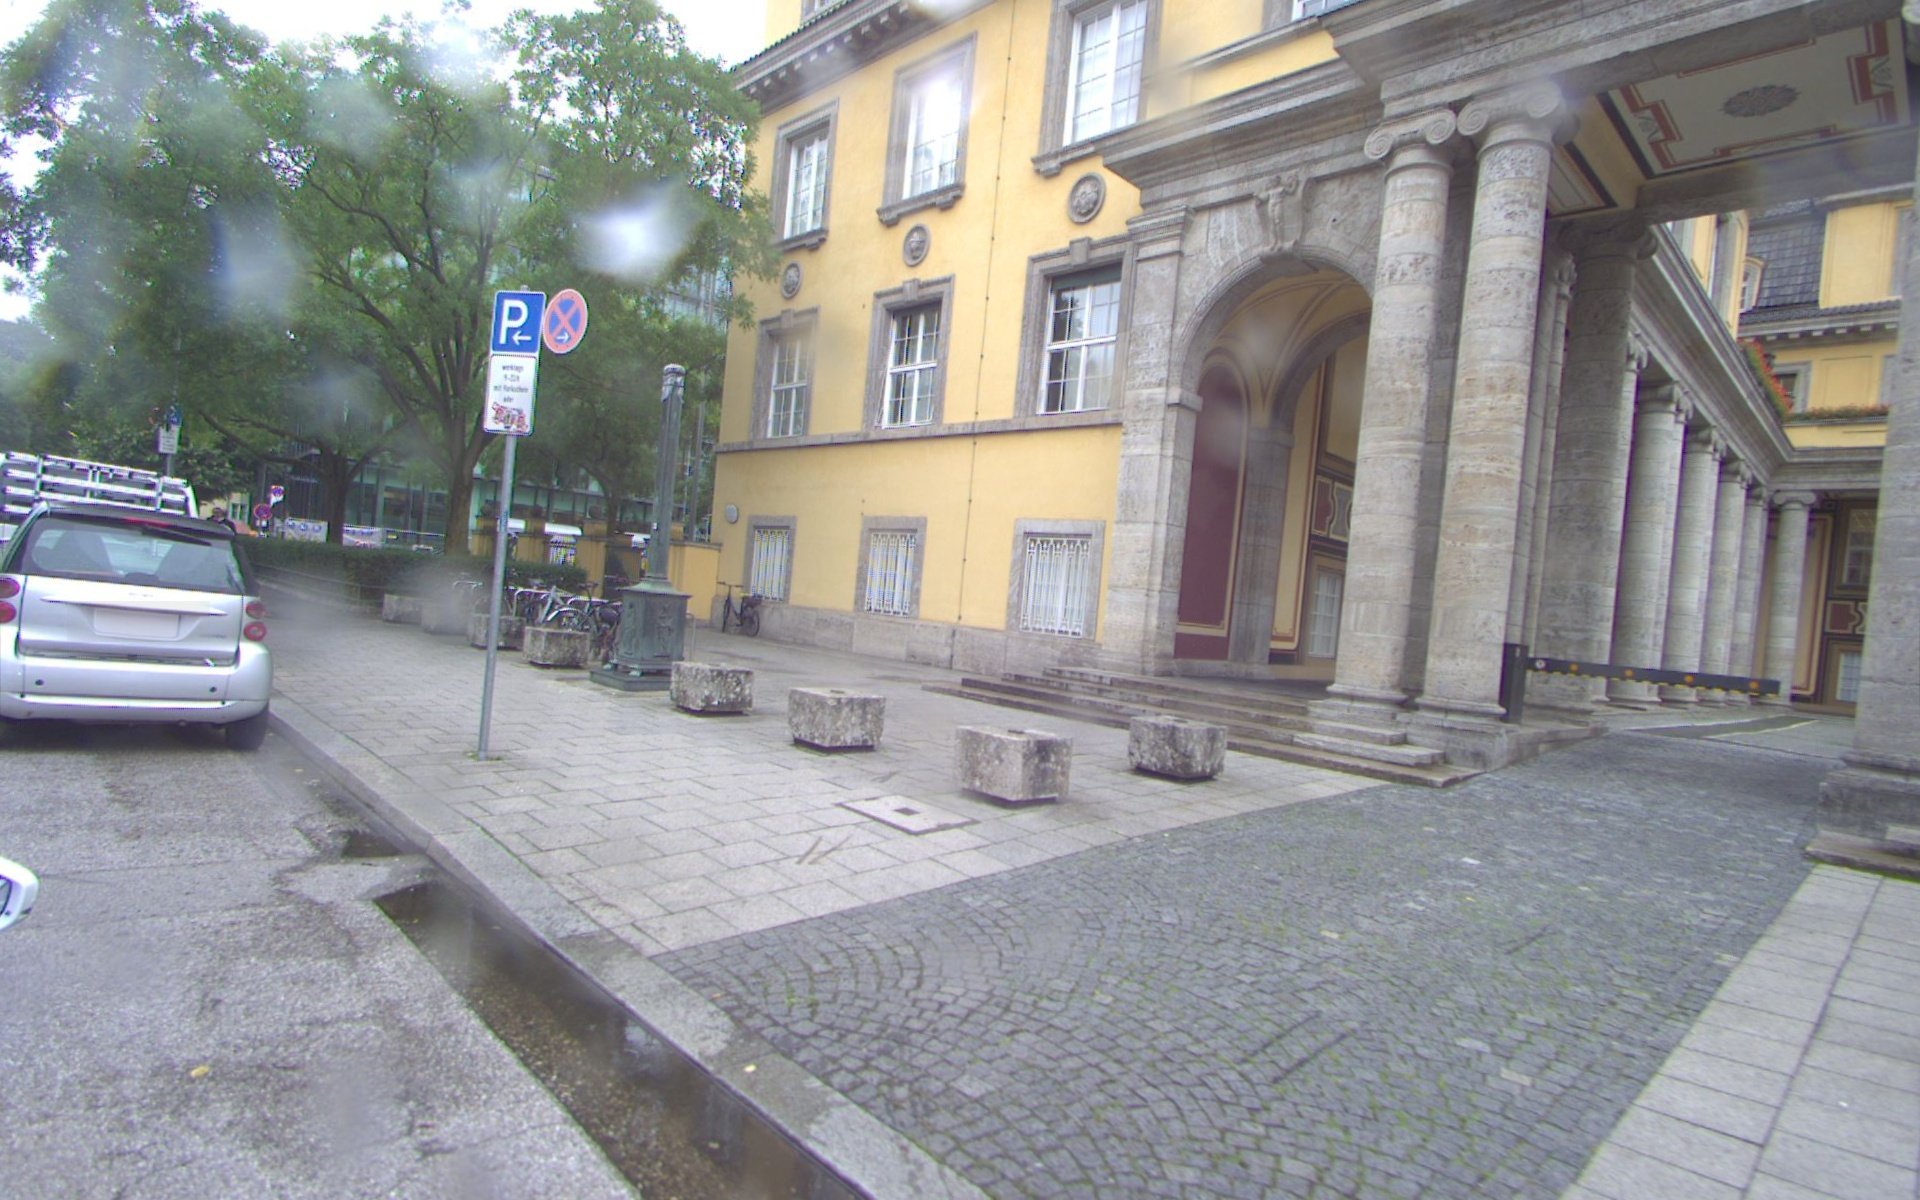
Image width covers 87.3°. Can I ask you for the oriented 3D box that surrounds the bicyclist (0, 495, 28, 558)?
[{"bbox_3d":[-23.720,-1.827,25.022,0.668,1.516,1.083,4,0,-40],"label":"bicyclist"}]

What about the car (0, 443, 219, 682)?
[{"bbox_3d":[-9.689,-0.480,10.821,5.205,1.956,1.841,6,-2,45],"label":"car"}]

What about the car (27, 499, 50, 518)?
[{"bbox_3d":[-117.843,-11.699,128.674,1.987,2.123,3.953,9,-1,-42],"label":"car"}]

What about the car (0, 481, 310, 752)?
[{"bbox_3d":[-6.083,0.069,7.345,1.601,1.564,2.897,8,-1,-44],"label":"car"}]

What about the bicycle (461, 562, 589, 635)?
[{"bbox_3d":[-7.436,-0.007,17.274,1.923,1.128,0.465,4,2,-43],"label":"bicycle"}]

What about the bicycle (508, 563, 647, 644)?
[{"bbox_3d":[-5.888,0.075,15.575,1.923,1.128,0.465,4,2,-43],"label":"bicycle"}]

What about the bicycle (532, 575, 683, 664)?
[{"bbox_3d":[-4.848,0.297,13.932,0.465,1.128,1.926,7,2,42],"label":"bicycle"}]

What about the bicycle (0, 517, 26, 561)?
[{"bbox_3d":[-23.735,-1.519,25.032,0.619,1.017,2.116,4,0,-41],"label":"bicycle"}]

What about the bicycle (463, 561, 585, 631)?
[{"bbox_3d":[-7.785,-0.053,18.023,1.923,1.128,0.465,4,2,-43],"label":"bicycle"}]

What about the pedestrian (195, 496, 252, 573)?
[{"bbox_3d":[-19.665,-1.731,26.896,0.732,1.933,1.054,5,2,-9],"label":"pedestrian"}]

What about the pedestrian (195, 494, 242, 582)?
[{"bbox_3d":[-19.041,-1.596,25.837,0.740,2.163,1.042,3,2,-45],"label":"pedestrian"}]

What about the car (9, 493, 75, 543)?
[{"bbox_3d":[-38.744,-3.471,42.538,1.855,1.817,4.457,5,1,-41],"label":"car"}]

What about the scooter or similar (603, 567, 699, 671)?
[{"bbox_3d":[-3.979,0.237,12.984,0.993,1.238,0.537,5,2,0],"label":"scooter or similar"}]

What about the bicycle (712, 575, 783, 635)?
[{"bbox_3d":[-4.807,0.108,22.686,0.540,1.169,1.877,3,3,-45],"label":"bicycle"}]

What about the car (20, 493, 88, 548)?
[{"bbox_3d":[-35.347,-3.122,39.214,1.755,1.846,4.087,6,0,-44],"label":"car"}]

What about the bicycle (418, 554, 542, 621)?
[{"bbox_3d":[-8.981,-0.212,18.898,0.465,1.128,2.026,7,2,42],"label":"bicycle"}]

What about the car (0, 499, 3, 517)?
[{"bbox_3d":[-95.319,-9.115,98.770,1.802,1.704,3.953,5,1,-42],"label":"car"}]
